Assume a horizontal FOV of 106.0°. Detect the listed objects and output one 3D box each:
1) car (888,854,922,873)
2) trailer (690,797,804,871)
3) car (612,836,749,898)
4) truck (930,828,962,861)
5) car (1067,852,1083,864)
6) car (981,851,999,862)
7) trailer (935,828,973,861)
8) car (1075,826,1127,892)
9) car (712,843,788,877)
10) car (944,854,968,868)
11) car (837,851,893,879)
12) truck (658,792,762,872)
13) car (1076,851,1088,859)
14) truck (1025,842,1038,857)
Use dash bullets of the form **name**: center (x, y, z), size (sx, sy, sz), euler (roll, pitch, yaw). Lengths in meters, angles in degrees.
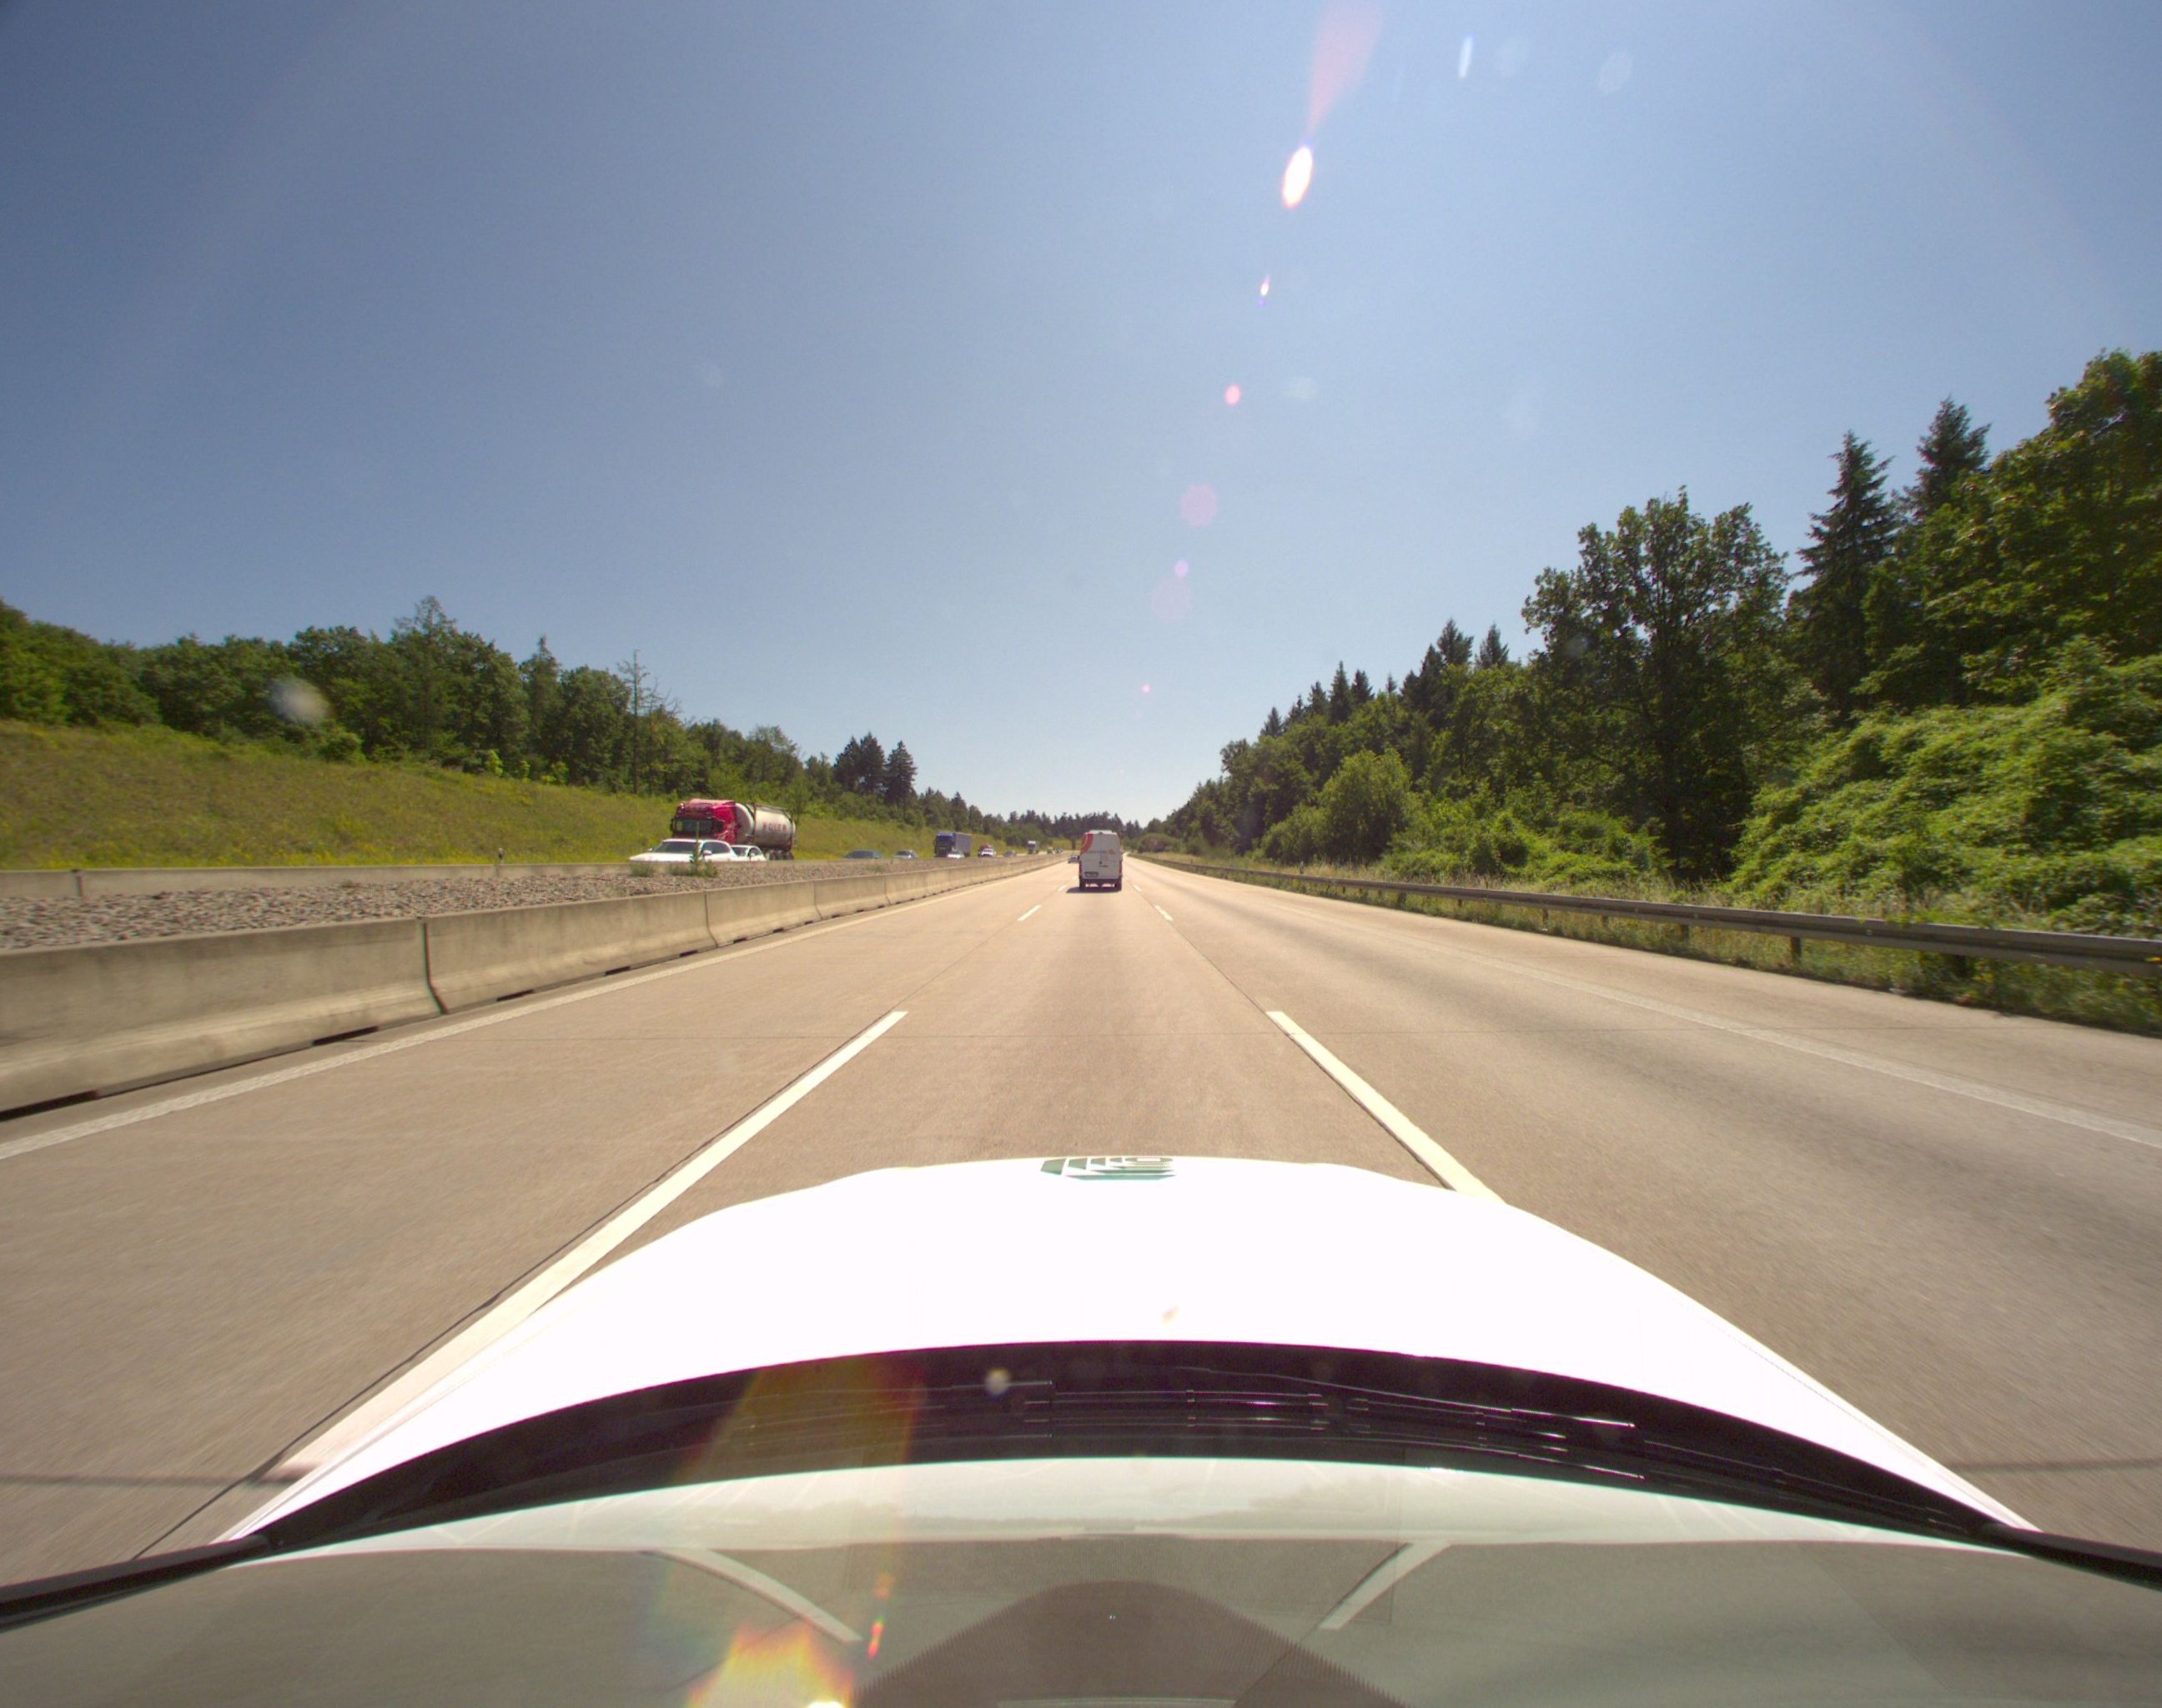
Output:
- **car**: center (-15.840, 0.844, 73.632), size (1.986, 1.583, 4.432), euler (1, 0, 2)
- **trailer**: center (-20.559, -1.103, 50.944), size (2.922, 4.169, 9.338), euler (1, 0, 2)
- **car**: center (-13.248, 0.399, 27.390), size (1.986, 1.873, 4.970), euler (1, 0, 2)
- **truck**: center (-18.970, -1.327, 114.613), size (3.245, 4.504, 6.575), euler (1, 0, 1)
- **car**: center (-0.952, 0.595, 123.004), size (1.984, 1.684, 4.006), euler (1, 0, 5)
- **car**: center (-14.095, 0.424, 125.921), size (1.986, 1.583, 5.521), euler (1, 0, 2)
- **trailer**: center (-18.867, -1.291, 121.771), size (3.245, 4.504, 13.739), euler (1, 0, 1)
- **car**: center (0.918, 0.183, 38.467), size (2.218, 2.844, 5.455), euler (1, 0, 1)
- **car**: center (-16.503, 0.288, 40.872), size (1.986, 1.583, 4.181), euler (1, 0, 2)
- **car**: center (-15.134, 0.856, 98.625), size (1.986, 1.583, 4.531), euler (1, 0, 2)
- **car**: center (-12.916, 0.661, 48.937), size (1.986, 1.583, 4.465), euler (1, 0, 2)
- **truck**: center (-20.719, -1.131, 45.894), size (2.922, 4.169, 5.984), euler (1, 0, 2)
- **car**: center (0.208, 0.202, 167.699), size (1.984, 1.684, 4.006), euler (1, 0, 5)
- **truck**: center (-15.670, -1.438, 258.552), size (3.244, 4.504, 7.988), euler (1, 0, 2)
